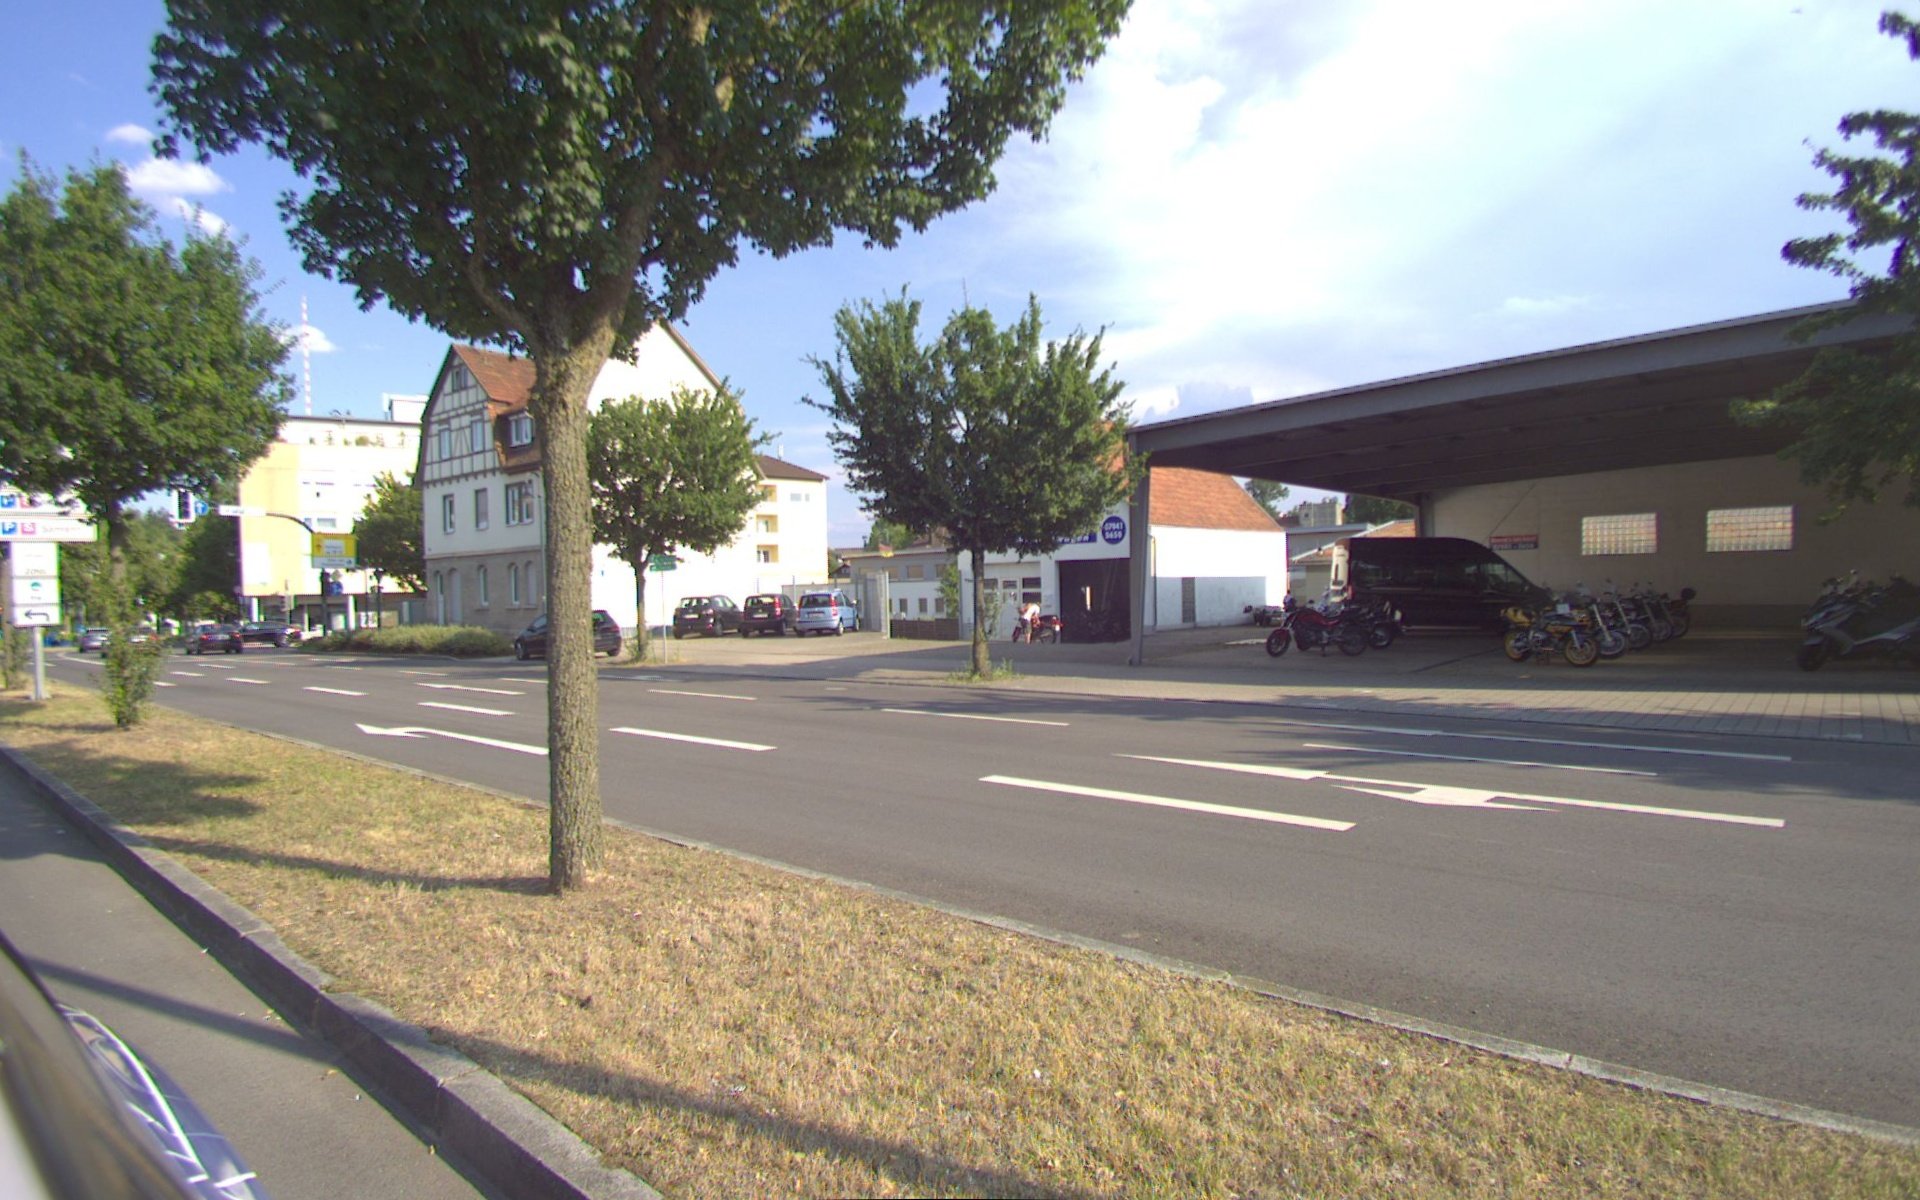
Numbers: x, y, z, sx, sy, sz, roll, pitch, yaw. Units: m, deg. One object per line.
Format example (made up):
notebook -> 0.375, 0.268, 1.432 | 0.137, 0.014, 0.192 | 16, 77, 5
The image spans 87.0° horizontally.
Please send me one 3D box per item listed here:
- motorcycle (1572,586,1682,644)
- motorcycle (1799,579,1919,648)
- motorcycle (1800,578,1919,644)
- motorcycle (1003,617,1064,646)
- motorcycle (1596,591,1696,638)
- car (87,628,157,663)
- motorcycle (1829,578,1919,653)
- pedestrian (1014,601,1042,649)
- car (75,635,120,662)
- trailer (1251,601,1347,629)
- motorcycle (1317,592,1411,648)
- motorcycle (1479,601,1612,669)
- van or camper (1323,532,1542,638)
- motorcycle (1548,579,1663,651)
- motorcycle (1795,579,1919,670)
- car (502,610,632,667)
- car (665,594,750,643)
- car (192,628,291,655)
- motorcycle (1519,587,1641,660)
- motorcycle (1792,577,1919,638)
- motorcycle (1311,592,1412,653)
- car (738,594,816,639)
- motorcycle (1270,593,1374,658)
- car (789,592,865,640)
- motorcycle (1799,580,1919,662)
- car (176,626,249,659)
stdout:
motorcycle -> 15.425, 0.341, 23.480 | 0.636, 1.268, 2.161 | -1, 0, -19
motorcycle -> 17.956, 0.268, 19.994 | 2.068, 1.317, 0.581 | -1, 0, 12
motorcycle -> 18.945, 0.232, 21.172 | 2.068, 1.317, 0.561 | -1, 0, 12
motorcycle -> 2.398, 1.024, 33.363 | 2.212, 0.927, 0.500 | -1, 0, 45
motorcycle -> 17.192, 0.355, 25.436 | 0.553, 1.131, 2.161 | -1, 0, -19
car -> -36.841, 1.972, 44.455 | 4.186, 1.397, 1.629 | -1, 0, 40
motorcycle -> 17.086, 0.273, 18.257 | 2.068, 1.317, 0.621 | -1, 0, 12
pedestrian -> 2.193, 0.808, 32.767 | 0.642, 1.535, 0.676 | -1, 0, -21
car -> -48.592, 2.694, 57.086 | 1.757, 1.359, 4.487 | -1, 0, -38
trailer -> 12.499, 0.529, 37.253 | 2.449, 0.831, 3.152 | -1, 2, 38
motorcycle -> 9.777, 0.486, 24.549 | 1.982, 1.321, 0.649 | -1, 0, 5
motorcycle -> 10.430, 0.604, 18.129 | 0.620, 1.132, 2.161 | -1, 0, -19
van or camper -> 12.747, -0.371, 27.636 | 4.980, 2.700, 1.995 | -1, 0, 9
motorcycle -> 13.783, 0.305, 21.694 | 0.584, 1.459, 2.161 | -1, 0, -19
motorcycle -> 13.874, 0.360, 15.129 | 2.093, 1.317, 0.561 | -1, 0, 12
car -> -11.754, 1.105, 30.153 | 4.193, 1.454, 1.816 | -1, 3, 41
car -> -9.350, 0.650, 37.773 | 1.746, 1.563, 3.992 | -2, 1, 7
car -> -42.445, 2.415, 59.837 | 4.594, 1.364, 1.770 | -1, 0, -41
motorcycle -> 12.102, 0.437, 19.842 | 0.553, 1.340, 2.161 | -1, 0, -19
motorcycle -> 19.899, 0.176, 22.527 | 2.068, 1.317, 0.561 | -1, 0, 12
motorcycle -> 9.010, 0.494, 22.769 | 1.982, 1.321, 0.649 | -1, 0, 5
car -> -6.695, 0.585, 37.413 | 1.746, 1.564, 3.992 | -1, 0, 7
motorcycle -> 7.541, 0.539, 21.186 | 1.991, 1.321, 0.665 | -1, 0, 18
car -> -4.619, 0.532, 35.731 | 1.746, 1.564, 3.992 | -1, 0, 7
motorcycle -> 15.255, 0.340, 16.736 | 2.068, 1.317, 0.561 | -1, 0, 12
car -> -35.483, 1.958, 47.988 | 4.642, 1.432, 1.824 | -1, 0, 41
